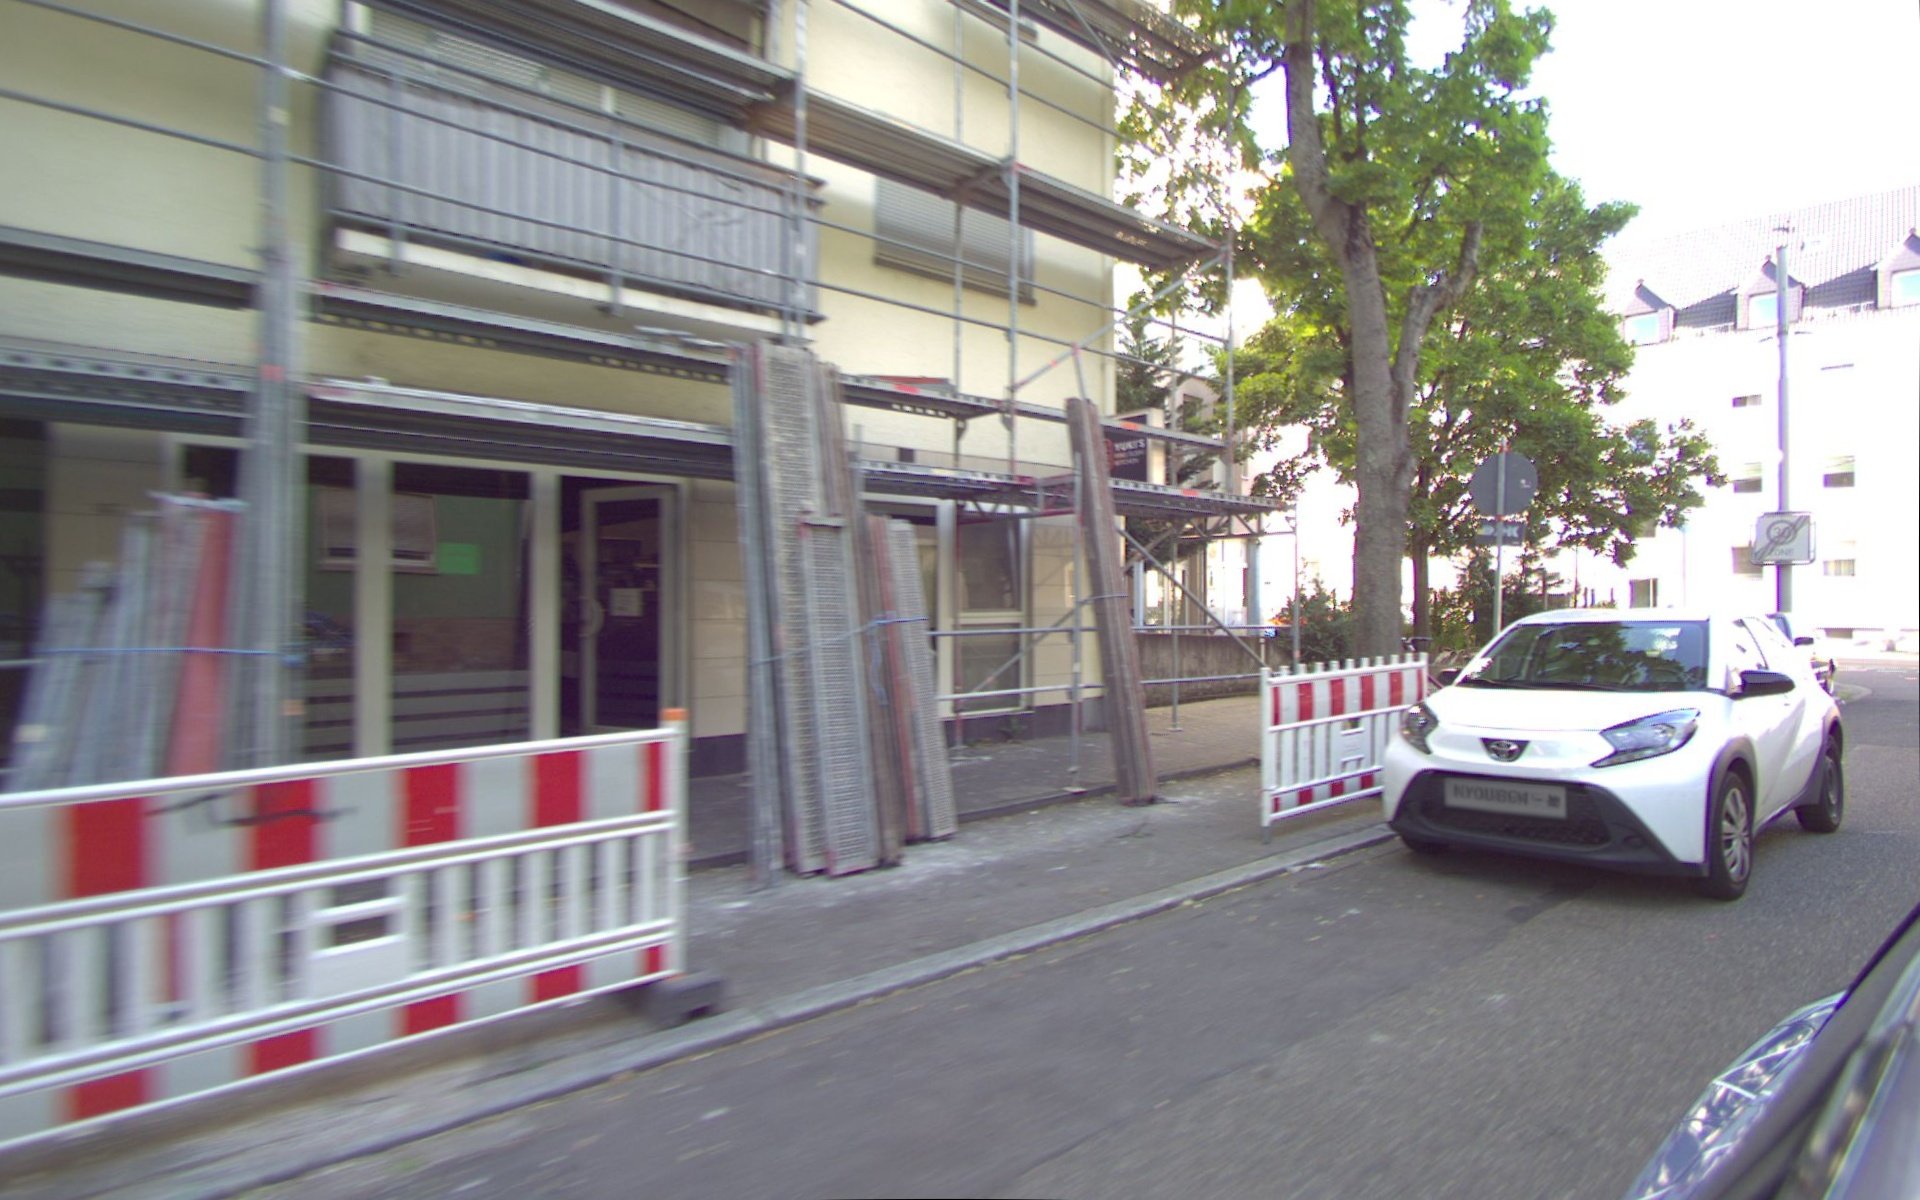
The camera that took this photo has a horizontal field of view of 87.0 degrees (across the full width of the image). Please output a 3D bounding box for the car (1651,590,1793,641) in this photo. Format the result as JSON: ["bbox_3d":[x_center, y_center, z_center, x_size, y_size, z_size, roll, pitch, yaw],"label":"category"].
[{"bbox_3d":[25.963,0.520,34.551,3.693,1.627,1.623,-1,-1,43],"label":"car"}]

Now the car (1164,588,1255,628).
[{"bbox_3d":[11.973,0.387,48.686,3.987,1.804,1.667,-1,-1,45],"label":"car"}]

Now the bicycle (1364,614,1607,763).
[{"bbox_3d":[5.066,0.796,9.831,1.961,1.169,0.742,4,3,37],"label":"bicycle"}]

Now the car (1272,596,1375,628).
[{"bbox_3d":[15.978,0.491,44.604,3.987,1.369,1.526,0,0,44],"label":"car"}]

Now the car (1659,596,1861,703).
[{"bbox_3d":[12.987,0.684,16.338,4.427,1.425,1.665,0,3,-40],"label":"car"}]

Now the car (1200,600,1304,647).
[{"bbox_3d":[9.082,0.717,31.533,2.867,1.373,1.245,0,1,40],"label":"car"}]

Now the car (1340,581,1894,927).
[{"bbox_3d":[4.342,0.698,6.485,3.892,1.555,1.806,0,-1,-38],"label":"car"}]
